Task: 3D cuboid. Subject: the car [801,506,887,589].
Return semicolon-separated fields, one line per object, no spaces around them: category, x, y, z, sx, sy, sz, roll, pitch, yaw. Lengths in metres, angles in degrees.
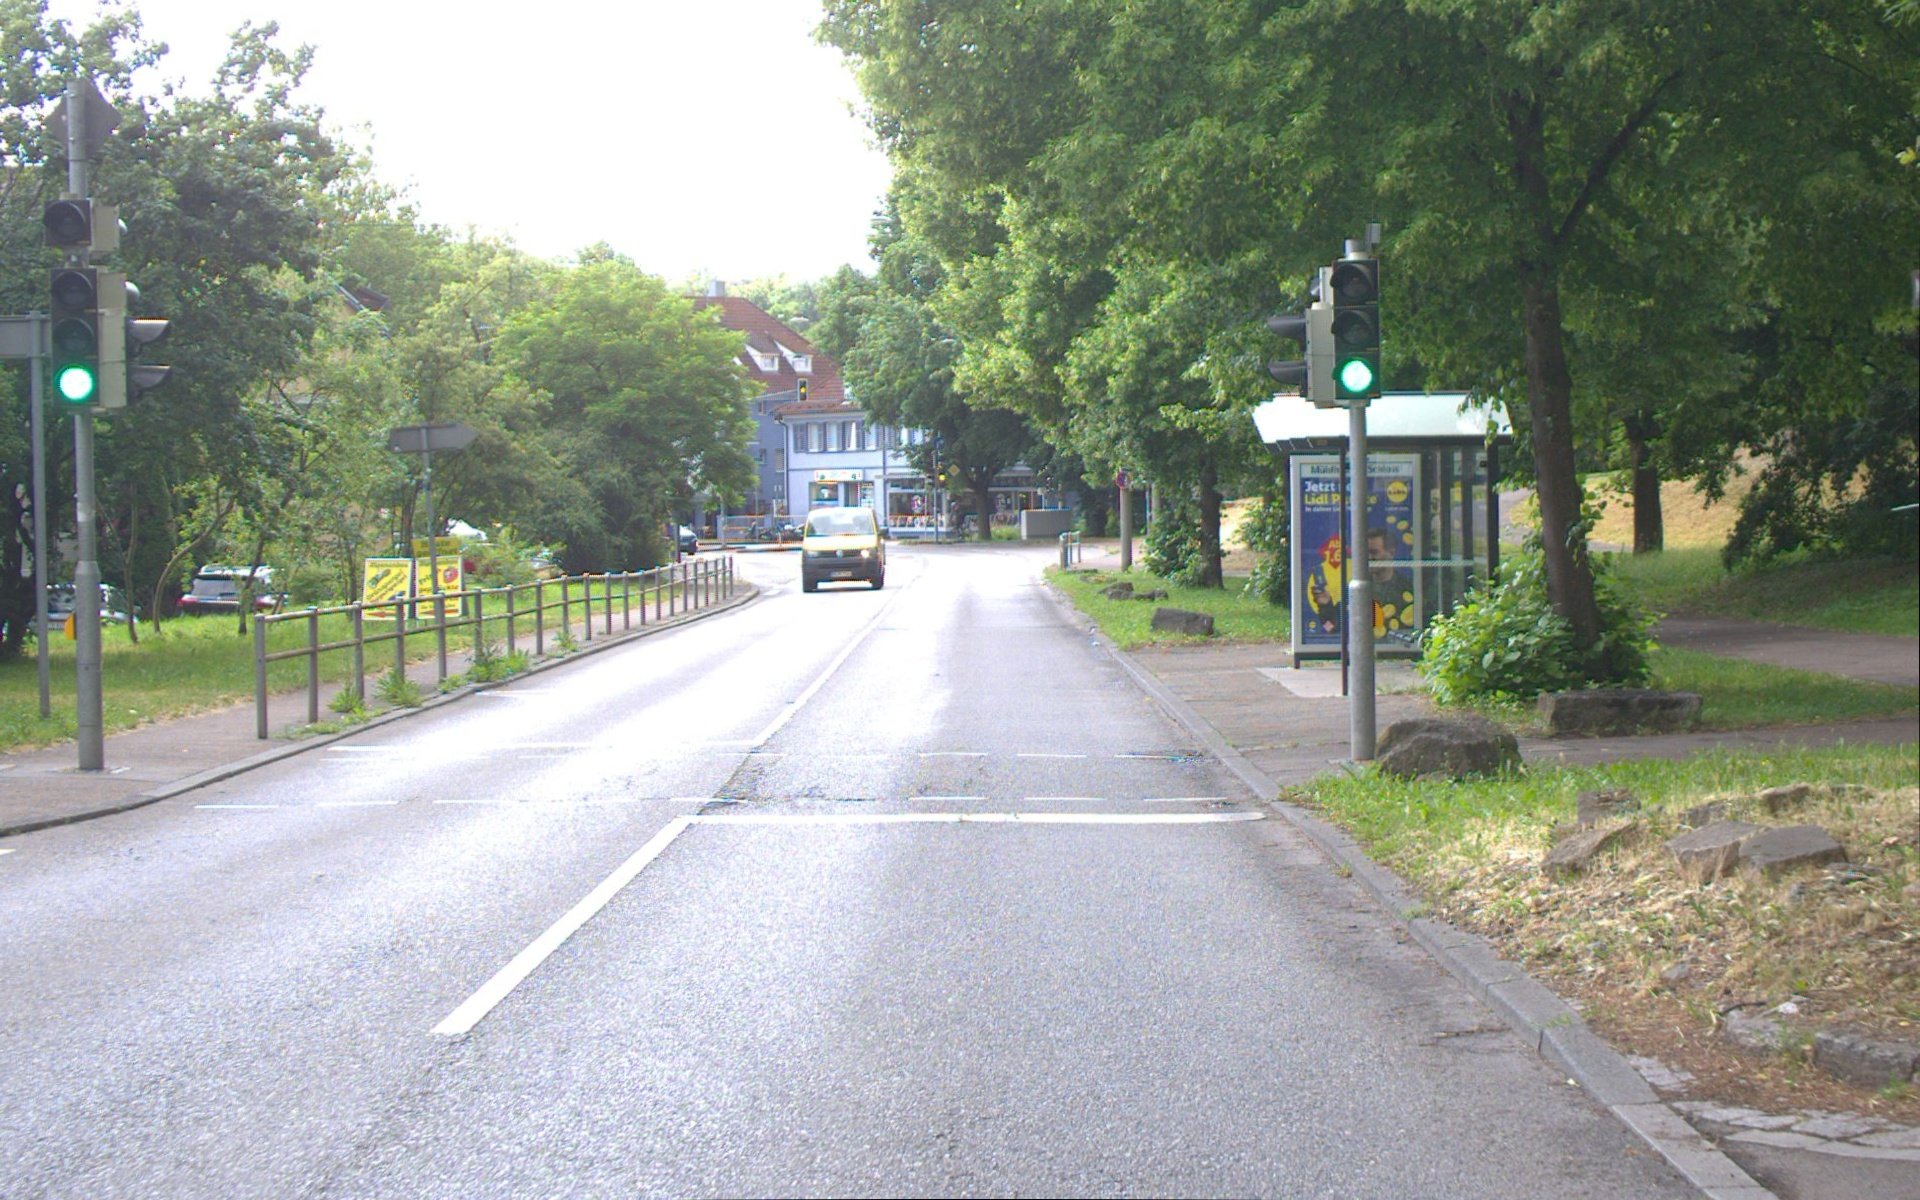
car;-2.757;-1.283;82.557;1.845;1.924;4.769;0;1;0

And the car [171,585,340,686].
car;-13.245;0.648;64.880;1.921;1.689;3.999;-2;1;6

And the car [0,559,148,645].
car;-14.468;0.014;56.083;1.553;1.273;2.553;-2;1;6
